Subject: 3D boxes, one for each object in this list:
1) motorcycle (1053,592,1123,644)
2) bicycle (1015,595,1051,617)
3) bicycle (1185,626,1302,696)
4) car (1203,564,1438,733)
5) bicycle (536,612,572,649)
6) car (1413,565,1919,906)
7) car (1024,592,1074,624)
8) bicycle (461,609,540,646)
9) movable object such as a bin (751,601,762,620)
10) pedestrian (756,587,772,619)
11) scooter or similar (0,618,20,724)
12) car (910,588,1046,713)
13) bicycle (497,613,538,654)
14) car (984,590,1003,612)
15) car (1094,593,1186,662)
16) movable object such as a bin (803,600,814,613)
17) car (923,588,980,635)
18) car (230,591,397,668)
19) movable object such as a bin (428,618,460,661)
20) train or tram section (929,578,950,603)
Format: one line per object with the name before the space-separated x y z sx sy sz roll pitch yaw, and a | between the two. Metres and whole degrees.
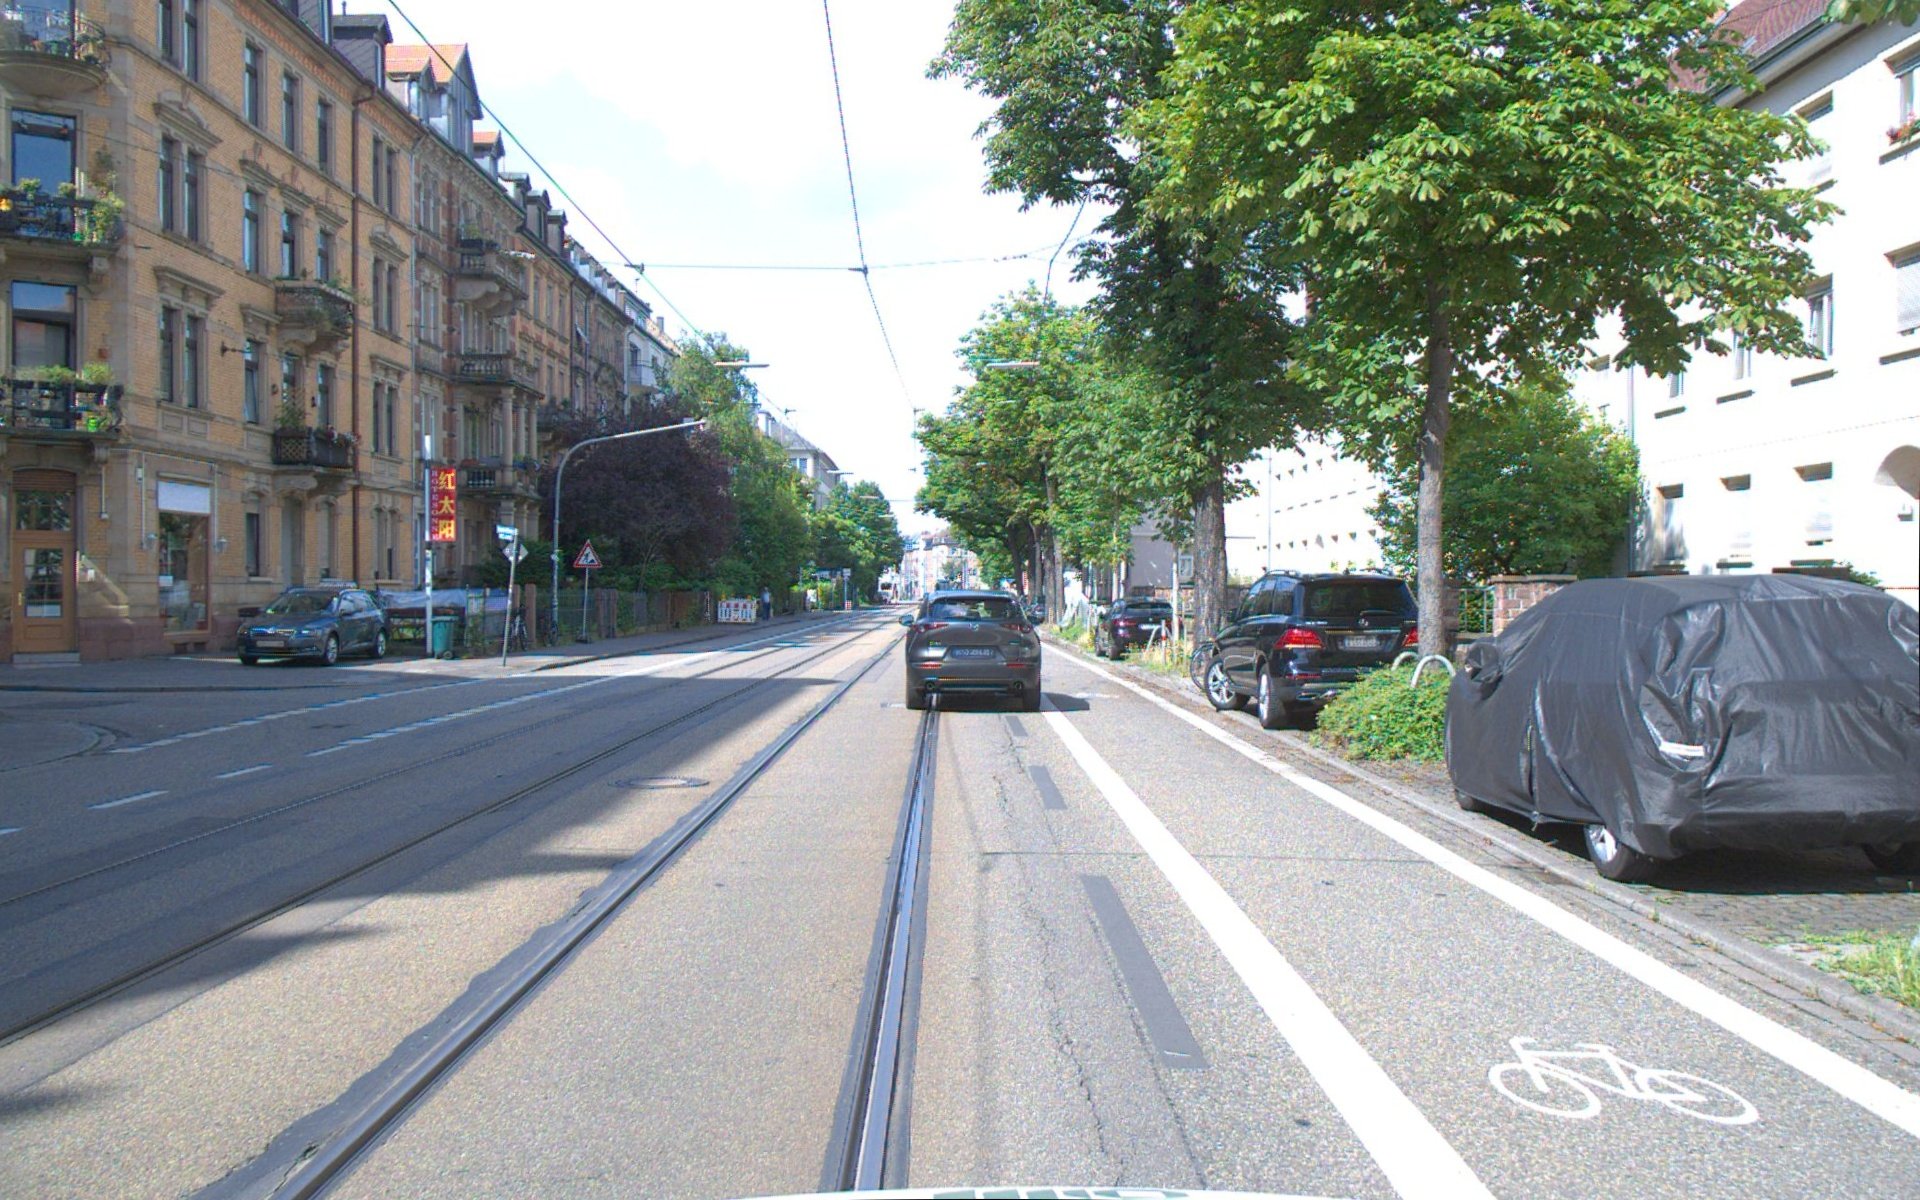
motorcycle | 4.292 0.585 55.478 2.342 1.625 0.675 2 1 39
bicycle | 4.021 0.333 91.108 1.895 1.196 0.513 -1 -1 11
bicycle | 4.316 0.919 25.254 1.673 1.024 0.638 0 0 0
car | 4.237 0.498 20.216 1.790 1.813 4.732 0 1 -1
bicycle | -11.082 0.814 45.181 0.519 0.963 1.967 0 0 -1
car | 4.452 0.660 10.496 1.825 1.682 4.637 0 0 -1
car | 4.176 0.365 78.142 1.810 1.434 4.392 -2 0 -3
bicycle | -12.082 0.721 43.502 1.923 0.963 0.531 0 0 -5
movable object such as a bin | -12.171 0.616 99.083 0.526 1.113 0.790 0 0 4
pedestrian | -10.652 0.180 90.092 0.806 1.736 0.891 0 0 -4
scooter or similar | -11.927 0.843 19.589 1.346 1.256 0.400 1 0 -30
car | 0.199 0.621 22.322 1.685 1.553 3.589 0 0 -1
bicycle | -11.021 0.830 41.224 0.519 0.963 1.967 0 0 -1
car | 3.086 0.051 154.089 1.685 2.003 4.207 0 0 0
car | 4.262 0.627 39.683 1.671 1.505 4.196 2 0 -1
movable object such as a bin | -11.539 0.500 125.822 0.730 1.005 1.114 2 0 -1
car | -0.334 0.394 59.910 1.953 1.555 3.999 2 0 -1
car | -13.399 0.567 34.601 1.651 1.485 4.764 0 0 0
movable object such as a bin | -11.508 0.879 36.913 0.514 0.921 0.636 0 0 -2
train or tram section | -3.227 -1.508 257.189 2.521 3.838 13.014 0 0 -4
